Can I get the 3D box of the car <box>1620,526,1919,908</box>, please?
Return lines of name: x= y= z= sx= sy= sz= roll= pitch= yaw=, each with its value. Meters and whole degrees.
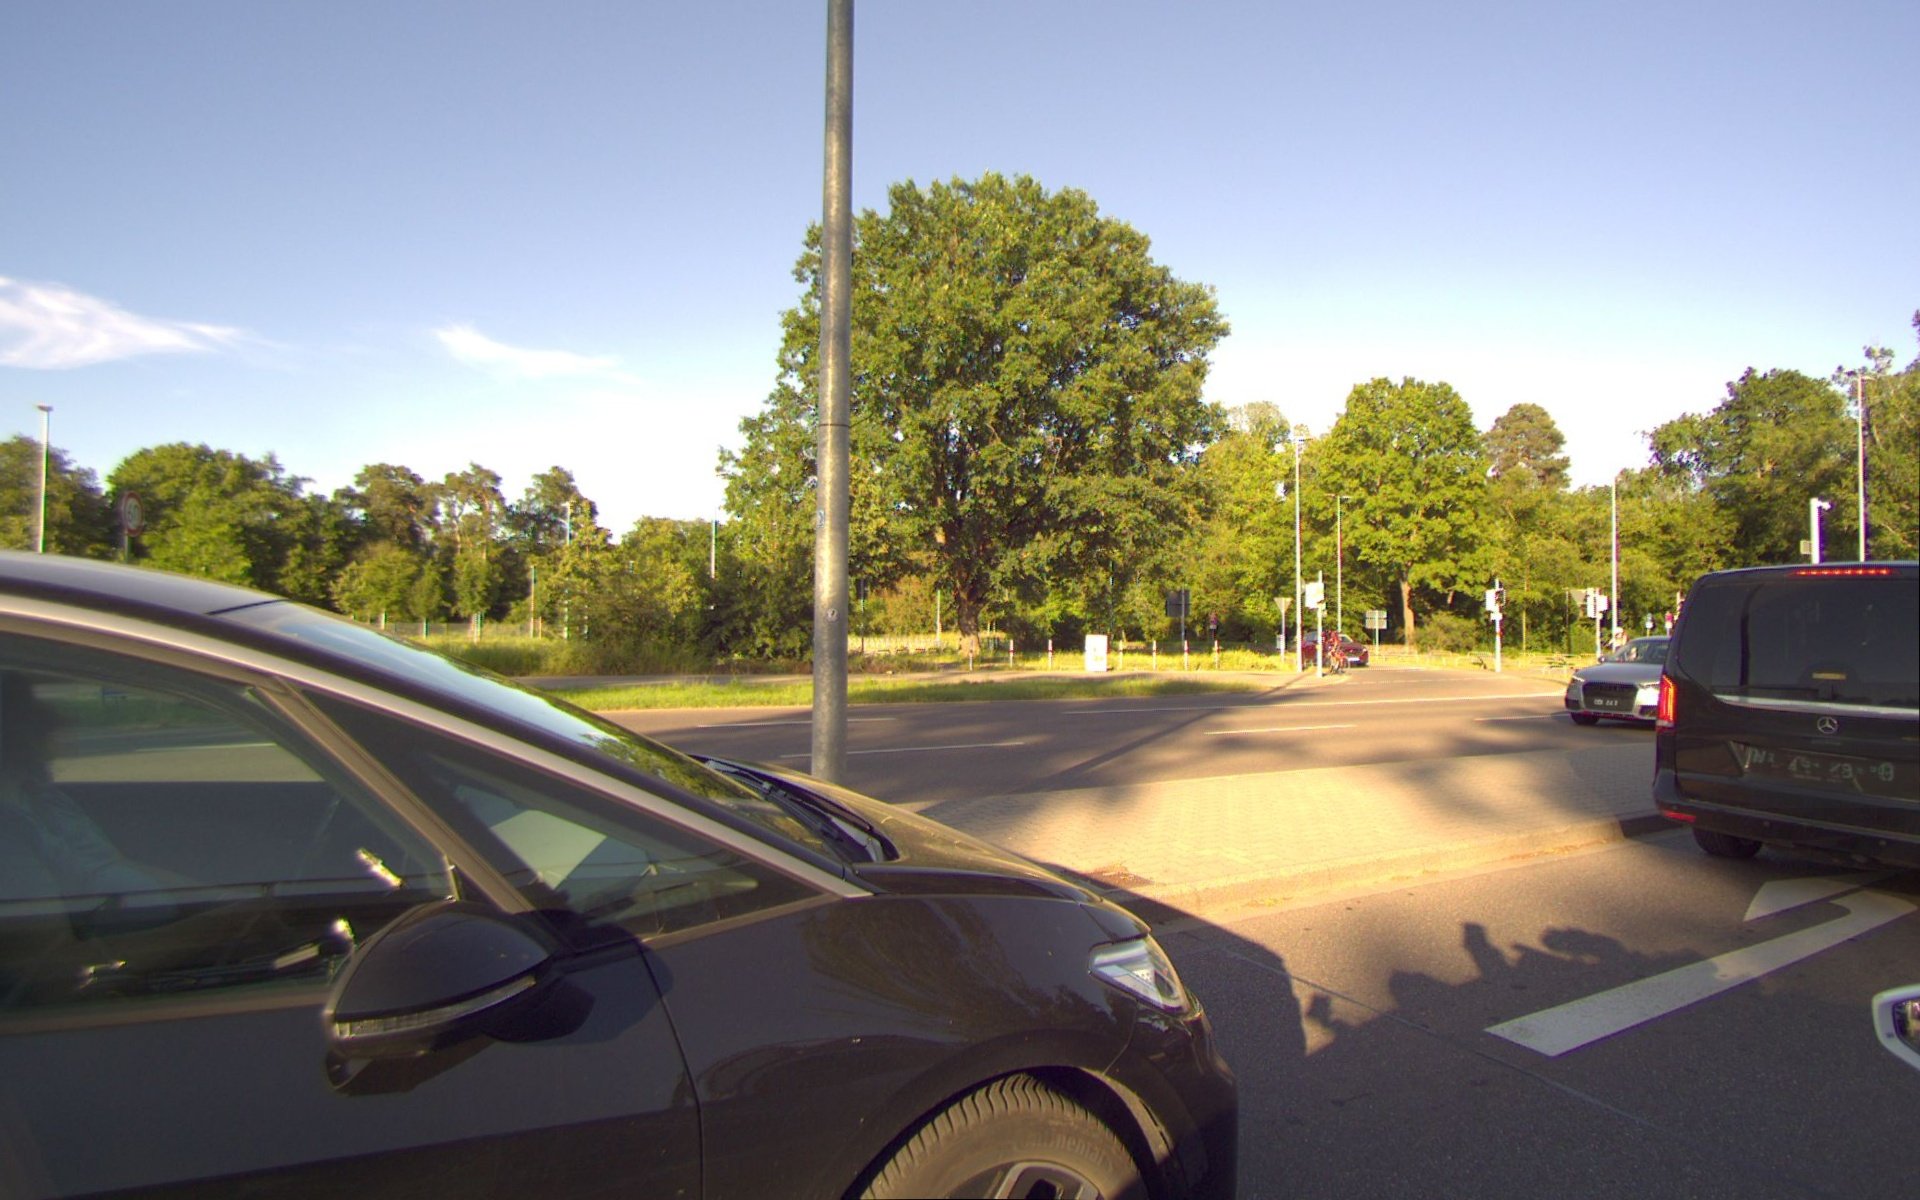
car: x=6.604 y=0.640 z=6.552 sx=4.816 sy=1.881 sz=1.898 roll=2 pitch=0 yaw=-31

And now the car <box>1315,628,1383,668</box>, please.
car: x=17.825 y=2.178 z=46.185 sx=1.959 sy=1.639 sz=4.002 roll=2 pitch=0 yaw=7

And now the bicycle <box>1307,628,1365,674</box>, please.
bicycle: x=13.403 y=1.829 z=35.794 sx=1.996 sy=1.571 sz=0.748 roll=2 pitch=0 yaw=-27

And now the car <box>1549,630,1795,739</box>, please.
car: x=10.887 y=1.232 z=15.314 sx=3.798 sy=1.414 sz=1.592 roll=2 pitch=0 yaw=-30

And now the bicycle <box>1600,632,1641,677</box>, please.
bicycle: x=26.964 y=2.207 z=41.007 sx=1.972 sy=1.773 sz=0.611 roll=2 pitch=0 yaw=-32

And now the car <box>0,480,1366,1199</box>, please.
car: x=-1.429 y=0.660 z=1.622 sx=3.955 sy=1.557 sz=1.868 roll=2 pitch=0 yaw=-31

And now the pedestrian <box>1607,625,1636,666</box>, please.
pedestrian: x=27.001 y=1.846 z=41.016 sx=0.780 sy=1.647 sz=0.692 roll=2 pitch=0 yaw=-30

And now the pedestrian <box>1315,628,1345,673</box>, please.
pedestrian: x=13.135 y=1.785 z=35.671 sx=0.664 sy=1.564 sz=0.737 roll=2 pitch=0 yaw=-27
